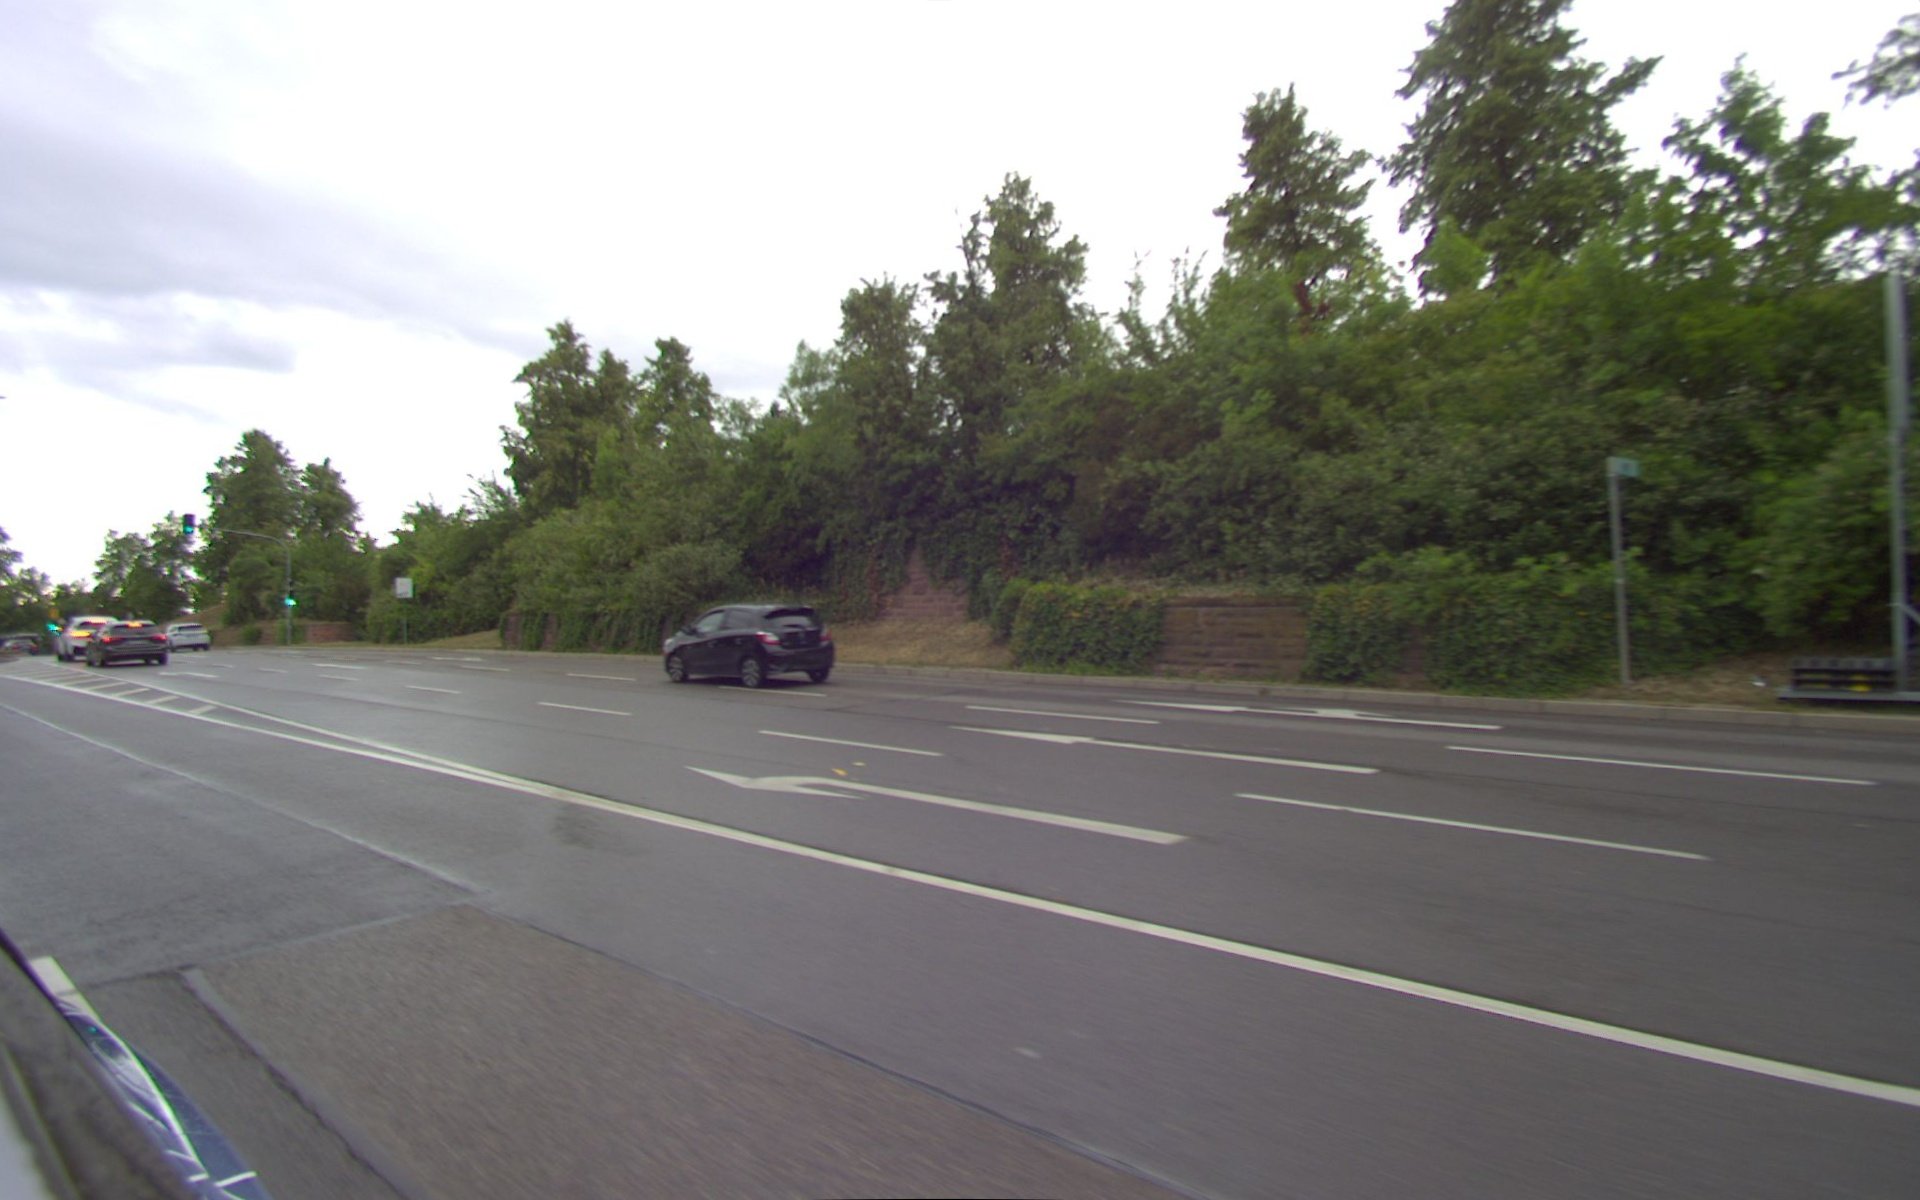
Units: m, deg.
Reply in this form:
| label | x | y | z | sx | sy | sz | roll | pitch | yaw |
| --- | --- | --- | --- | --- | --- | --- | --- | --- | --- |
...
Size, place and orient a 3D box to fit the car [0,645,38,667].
| label | x | y | z | sx | sy | sz | roll | pitch | yaw |
| --- | --- | --- | --- | --- | --- | --- | --- | --- | --- |
| car | -78.049 | 4.600 | 83.583 | 4.331 | 1.668 | 1.870 | -2 | 0 | 35 |

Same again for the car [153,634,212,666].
| label | x | y | z | sx | sy | sz | roll | pitch | yaw |
| --- | --- | --- | --- | --- | --- | --- | --- | --- | --- |
| car | -44.384 | 2.833 | 57.764 | 4.449 | 1.668 | 1.866 | -2 | 0 | 42 |

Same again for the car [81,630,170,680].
| label | x | y | z | sx | sy | sz | roll | pitch | yaw |
| --- | --- | --- | --- | --- | --- | --- | --- | --- | --- |
| car | -27.730 | 1.786 | 33.574 | 3.997 | 1.478 | 1.758 | -2 | 0 | 43 |

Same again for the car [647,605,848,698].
| label | x | y | z | sx | sy | sz | roll | pitch | yaw |
| --- | --- | --- | --- | --- | --- | --- | --- | --- | --- |
| car | -3.964 | 0.882 | 18.572 | 3.861 | 1.478 | 1.657 | -1 | 1 | 43 |

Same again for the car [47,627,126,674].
| label | x | y | z | sx | sy | sz | roll | pitch | yaw |
| --- | --- | --- | --- | --- | --- | --- | --- | --- | --- |
| car | -34.354 | 1.945 | 39.768 | 4.450 | 1.668 | 1.865 | -2 | 0 | 43 |
